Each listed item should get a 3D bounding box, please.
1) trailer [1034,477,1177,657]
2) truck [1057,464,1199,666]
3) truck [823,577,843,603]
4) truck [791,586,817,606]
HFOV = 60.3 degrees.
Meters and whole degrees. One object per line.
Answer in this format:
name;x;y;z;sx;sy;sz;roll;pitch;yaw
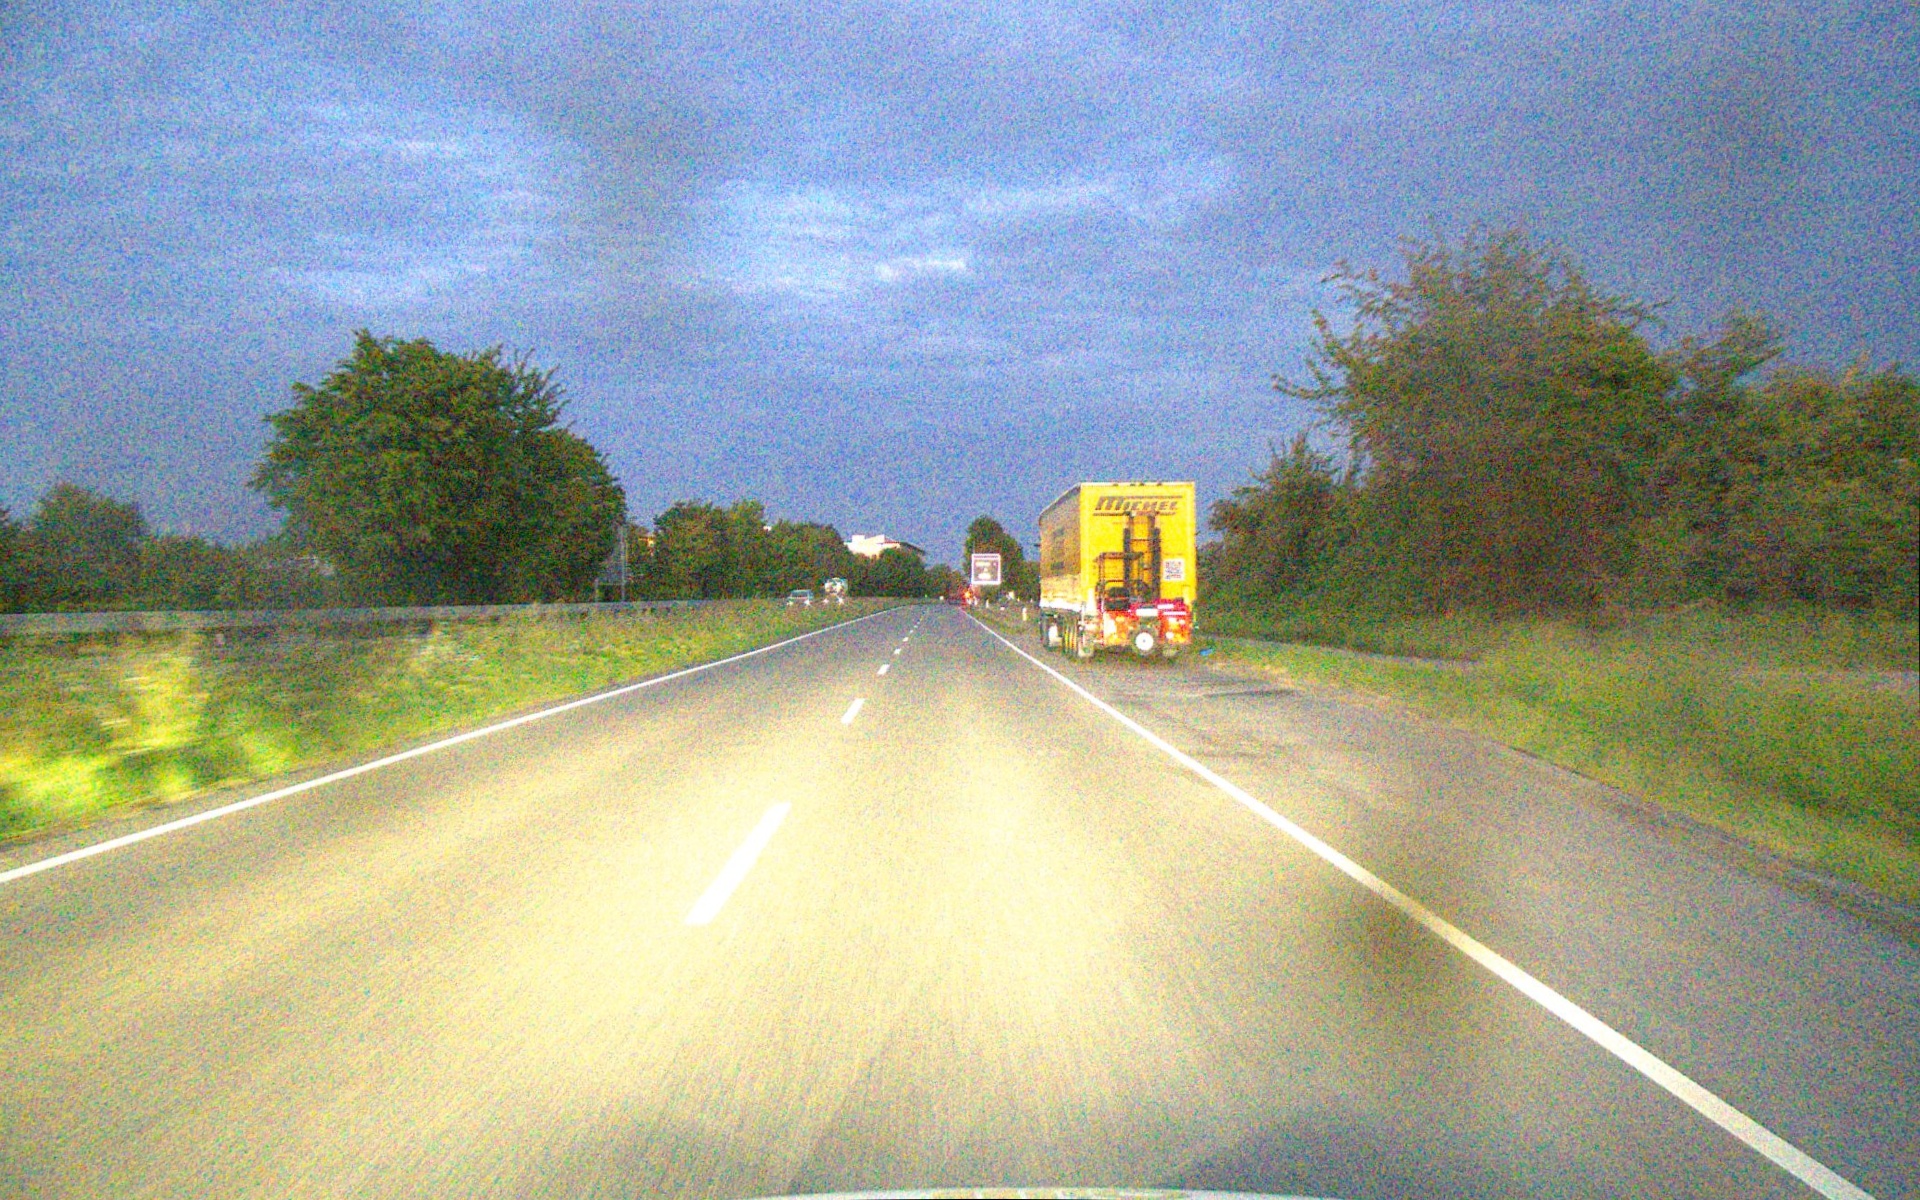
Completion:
trailer;3.672;-0.774;44.956;2.569;4.176;12.935;0;0;-1
truck;3.685;-0.758;37.587;2.526;4.142;6.130;1;1;0
truck;-17.563;-1.349;229.342;2.173;3.505;6.714;2;0;0
truck;-13.752;-0.362;145.866;1.975;1.681;4.772;2;0;-2
